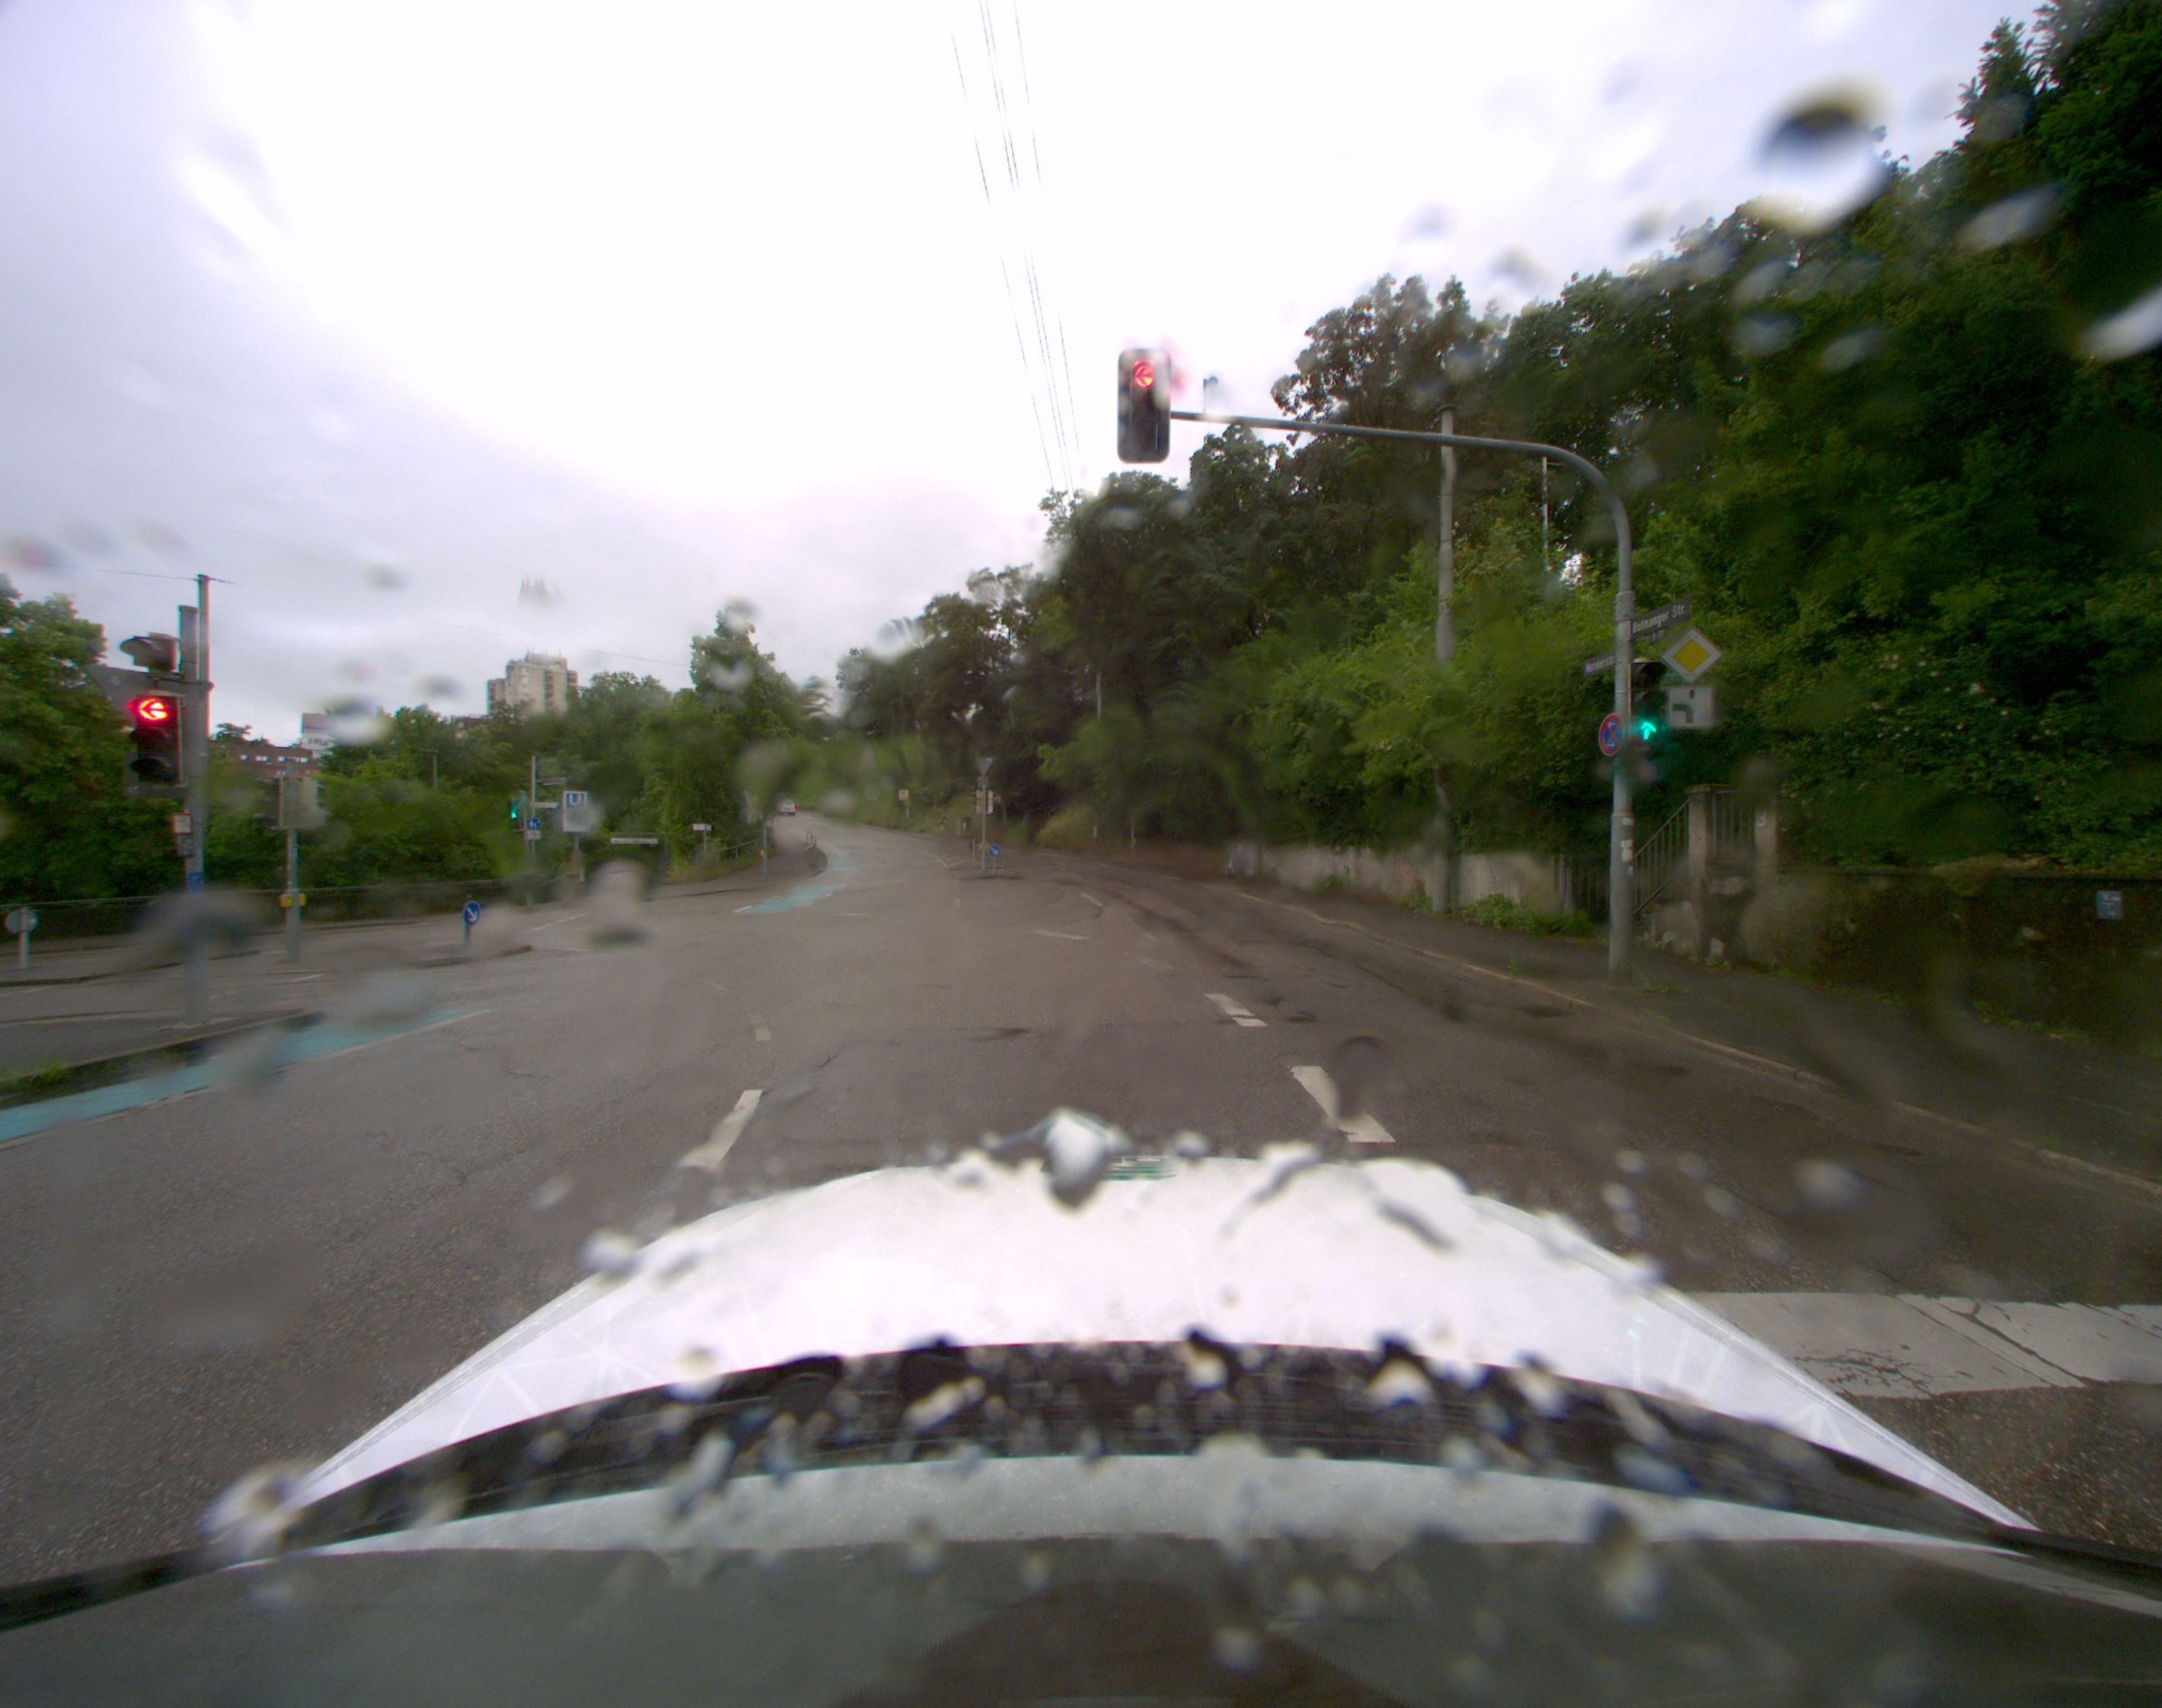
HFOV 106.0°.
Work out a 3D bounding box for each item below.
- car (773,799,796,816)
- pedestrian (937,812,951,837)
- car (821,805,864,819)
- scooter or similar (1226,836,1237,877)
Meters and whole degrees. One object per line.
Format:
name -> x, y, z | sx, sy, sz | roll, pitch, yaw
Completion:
car -> -37.294, -5.833, 102.396 | 2.077, 2.006, 4.773 | -1, 1, -27
pedestrian -> -9.850, -2.127, 58.589 | 0.882, 1.736, 0.861 | 0, -1, -15
car -> -27.713, -4.885, 94.781 | 4.362, 1.511, 1.969 | 1, 3, 10
scooter or similar -> 4.900, 0.067, 26.507 | 0.320, 1.279, 0.754 | -1, 2, 10
